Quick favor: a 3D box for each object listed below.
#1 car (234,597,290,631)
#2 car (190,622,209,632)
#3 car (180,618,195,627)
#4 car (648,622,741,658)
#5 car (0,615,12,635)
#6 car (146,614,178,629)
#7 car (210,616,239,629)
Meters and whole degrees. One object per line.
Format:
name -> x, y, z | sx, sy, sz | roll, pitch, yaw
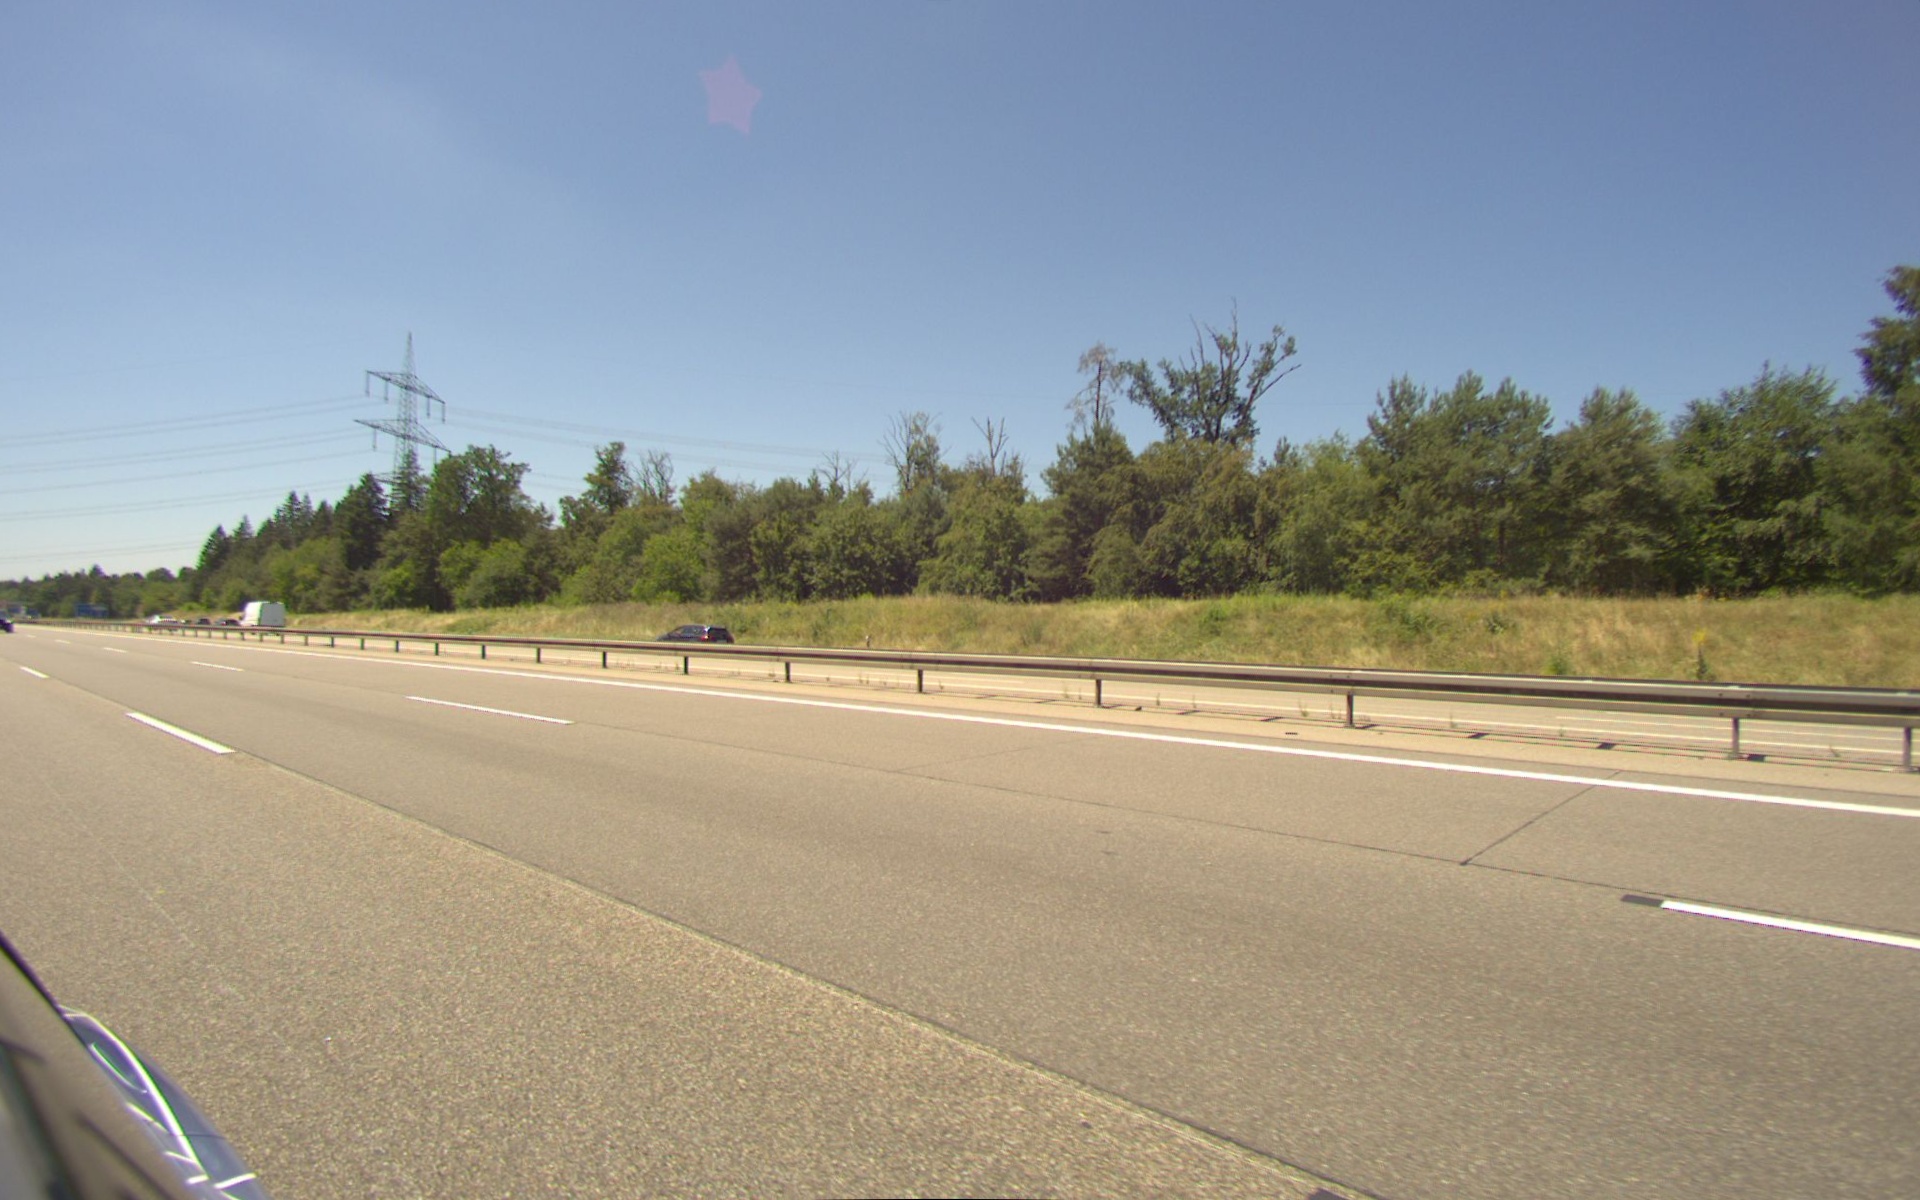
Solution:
car -> -59.018, 1.234, 85.512 | 6.873, 2.732, 2.317 | -1, -4, 43
car -> -122.759, 4.343, 163.291 | 4.437, 1.431, 1.769 | -1, 0, 44
car -> -138.989, 3.967, 182.079 | 4.002, 1.539, 1.541 | -1, 0, 45
car -> -12.201, 1.813, 46.380 | 4.743, 1.521, 1.807 | -1, -2, 42
car -> -72.257, 1.871, 75.696 | 1.872, 1.436, 4.264 | 0, -1, -45
car -> -76.548, 2.064, 97.022 | 4.675, 1.402, 1.673 | -1, -4, 43
car -> -80.658, 2.493, 111.007 | 4.675, 1.402, 1.673 | -1, -4, 43
